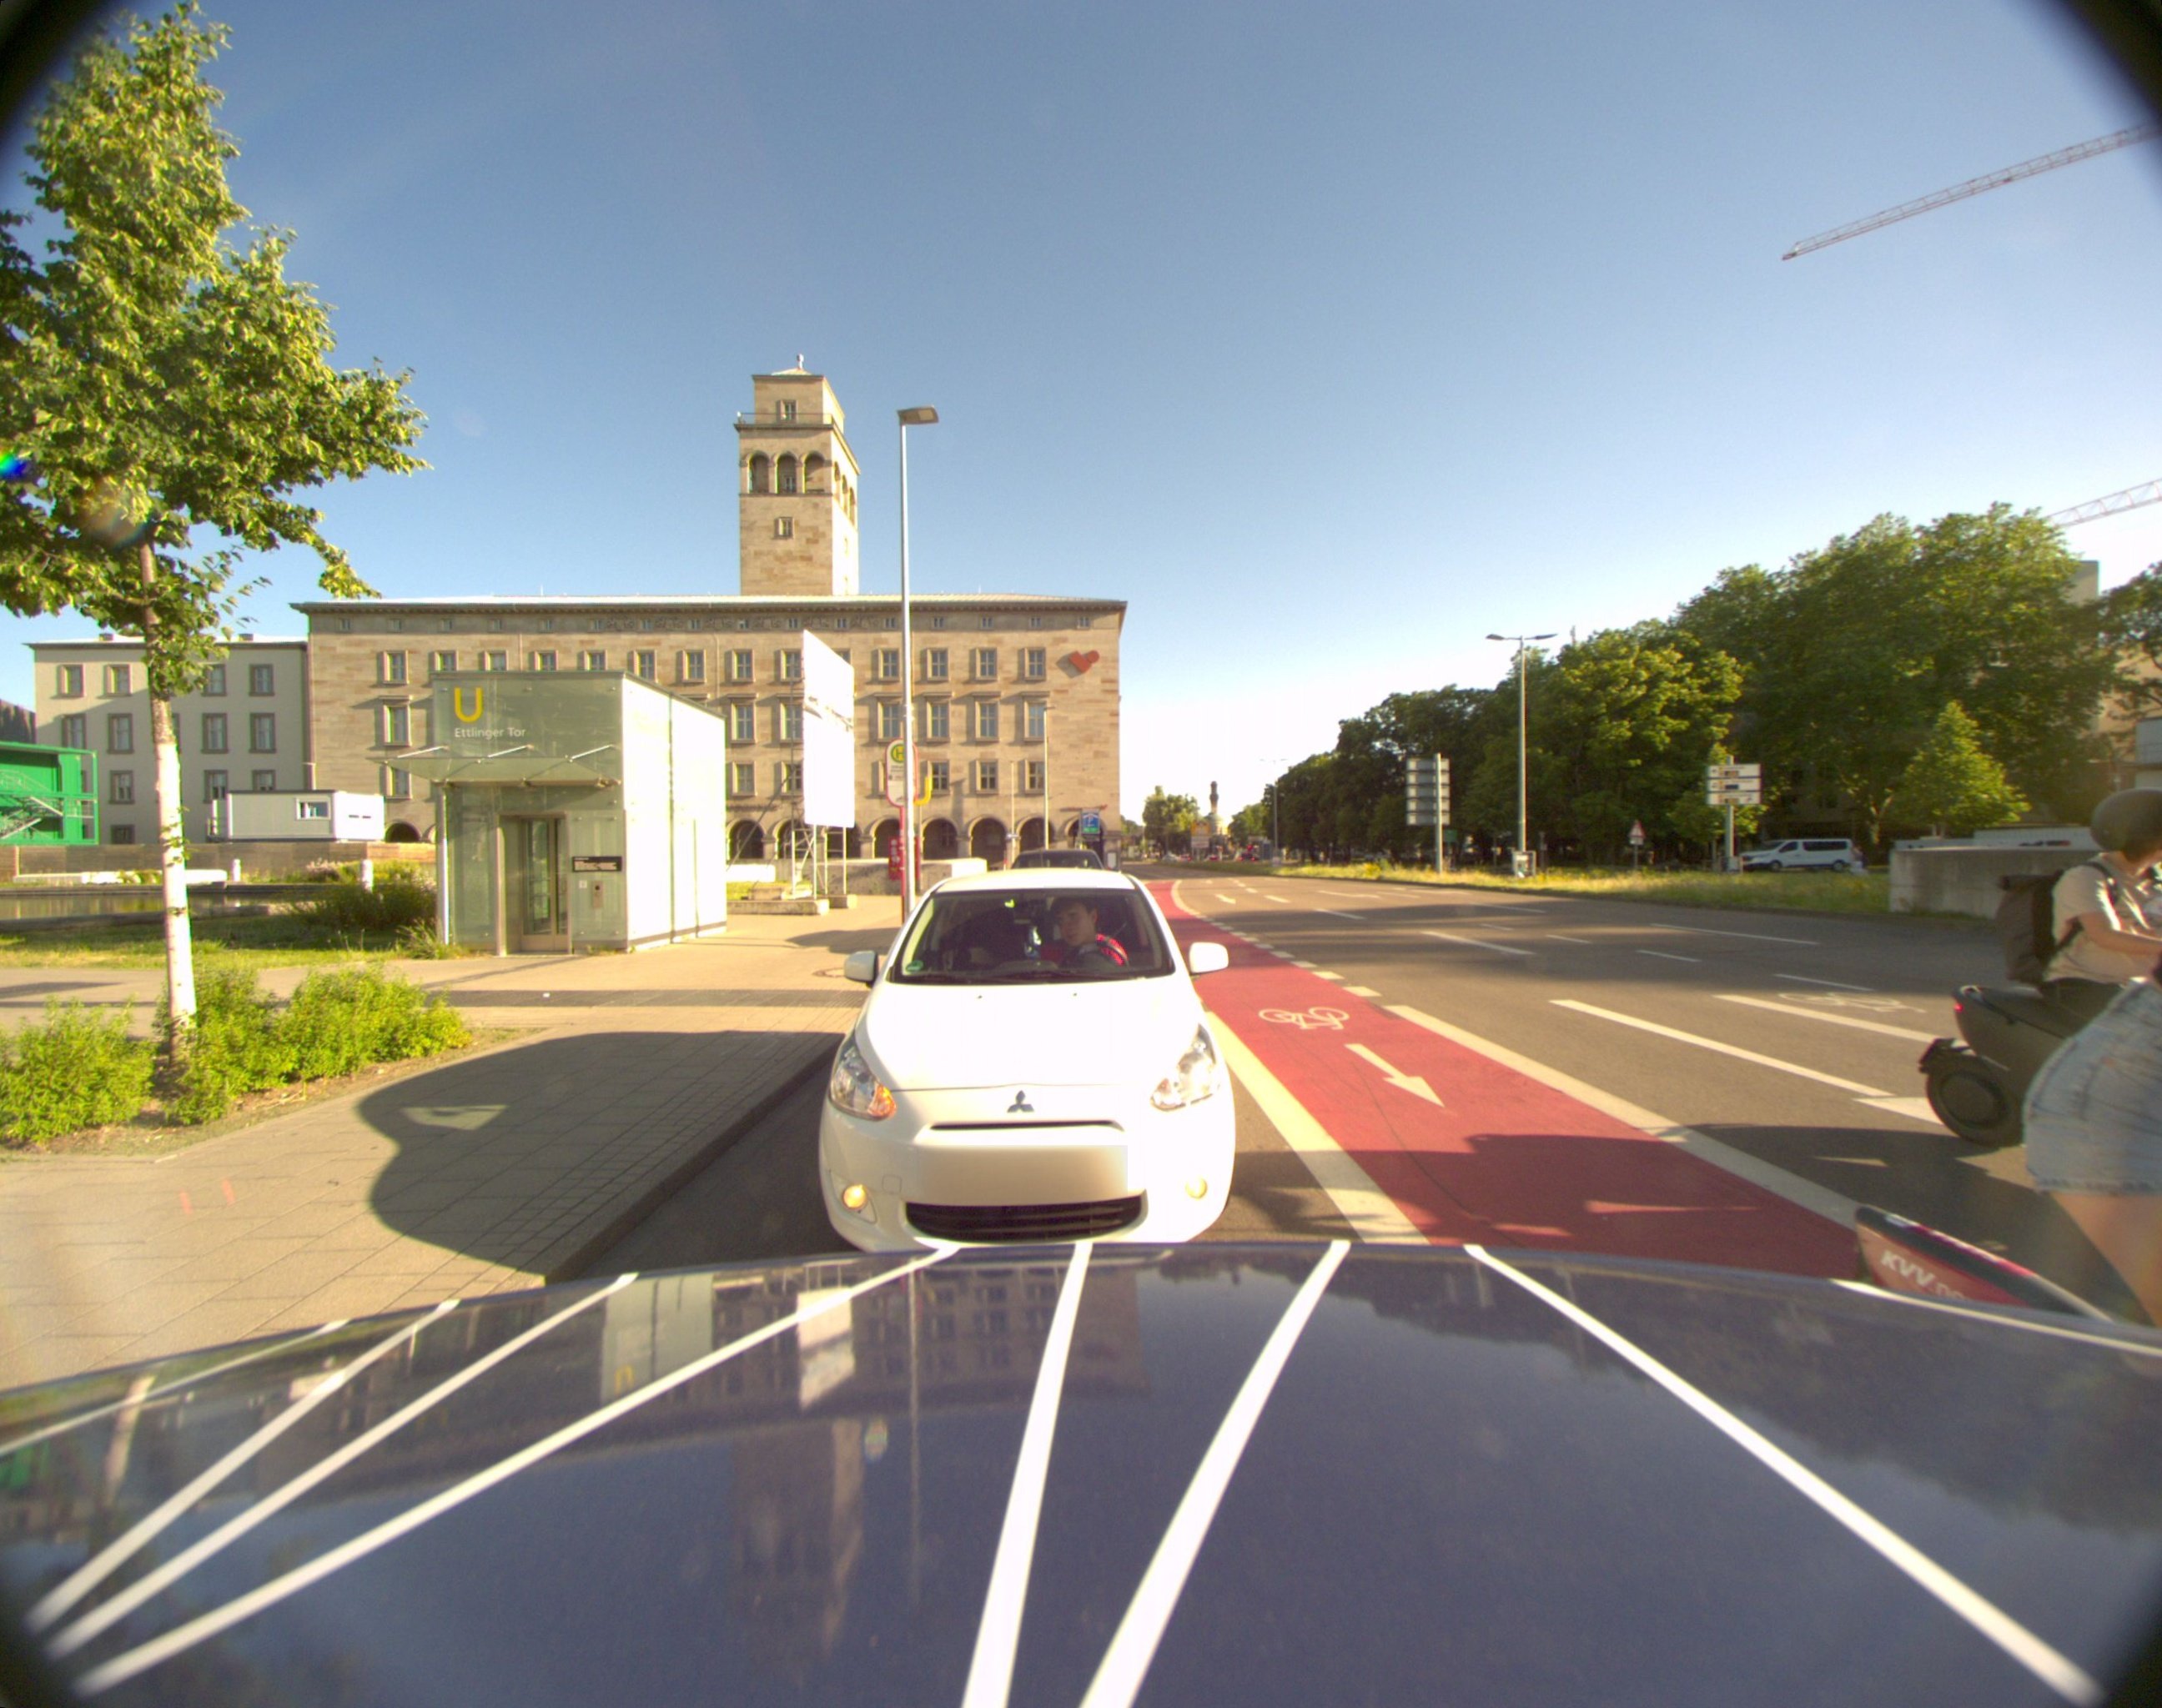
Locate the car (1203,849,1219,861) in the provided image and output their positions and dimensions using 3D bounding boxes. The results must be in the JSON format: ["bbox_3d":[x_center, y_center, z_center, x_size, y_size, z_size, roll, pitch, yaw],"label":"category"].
[{"bbox_3d":[20.599,0.110,120.441,1.747,1.778,3.947,-2,1,1],"label":"car"}]

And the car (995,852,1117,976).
[{"bbox_3d":[-0.365,0.837,12.520,1.642,1.653,3.849,-2,0,-1],"label":"car"}]

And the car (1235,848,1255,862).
[{"bbox_3d":[21.587,0.131,100.168,1.819,1.817,3.999,-2,1,1],"label":"car"}]

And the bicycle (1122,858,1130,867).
[{"bbox_3d":[5.788,1.034,97.327,0.854,1.109,2.808,-2,0,1],"label":"bicycle"}]

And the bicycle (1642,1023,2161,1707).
[{"bbox_3d":[1.650,1.012,0.854,0.617,1.211,1.831,-2,0,-2],"label":"bicycle"}]

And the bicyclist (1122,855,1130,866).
[{"bbox_3d":[5.766,0.872,97.120,0.854,1.340,0.829,-2,1,1],"label":"bicyclist"}]

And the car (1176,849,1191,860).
[{"bbox_3d":[16.272,0.098,120.400,1.849,1.677,3.999,-2,1,1],"label":"car"}]

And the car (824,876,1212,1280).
[{"bbox_3d":[-0.226,0.951,4.841,1.496,1.477,3.604,-2,0,1],"label":"car"}]

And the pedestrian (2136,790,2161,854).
[{"bbox_3d":[34.540,-1.027,23.974,0.940,2.002,1.137,-2,1,-5],"label":"pedestrian"}]

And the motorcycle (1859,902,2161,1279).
[{"bbox_3d":[4.291,0.896,2.887,0.724,1.286,1.884,-2,0,1],"label":"motorcycle"}]

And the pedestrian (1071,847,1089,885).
[{"bbox_3d":[-0.076,0.819,52.674,1.122,2.524,1.055,-2,1,1],"label":"pedestrian"}]

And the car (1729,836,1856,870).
[{"bbox_3d":[42.143,-0.057,45.110,5.516,1.924,2.065,-1,1,2],"label":"car"}]

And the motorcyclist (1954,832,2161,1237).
[{"bbox_3d":[4.283,0.652,2.940,0.727,1.466,0.917,-2,0,1],"label":"motorcyclist"}]

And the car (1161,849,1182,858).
[{"bbox_3d":[17.363,-0.036,146.497,1.854,1.677,3.990,-3,1,-32],"label":"car"}]

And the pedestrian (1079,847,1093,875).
[{"bbox_3d":[0.467,0.603,69.808,1.122,2.524,1.055,-2,1,1],"label":"pedestrian"}]

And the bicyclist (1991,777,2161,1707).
[{"bbox_3d":[1.661,0.679,0.665,0.643,1.570,0.875,-2,1,-2],"label":"bicyclist"}]
